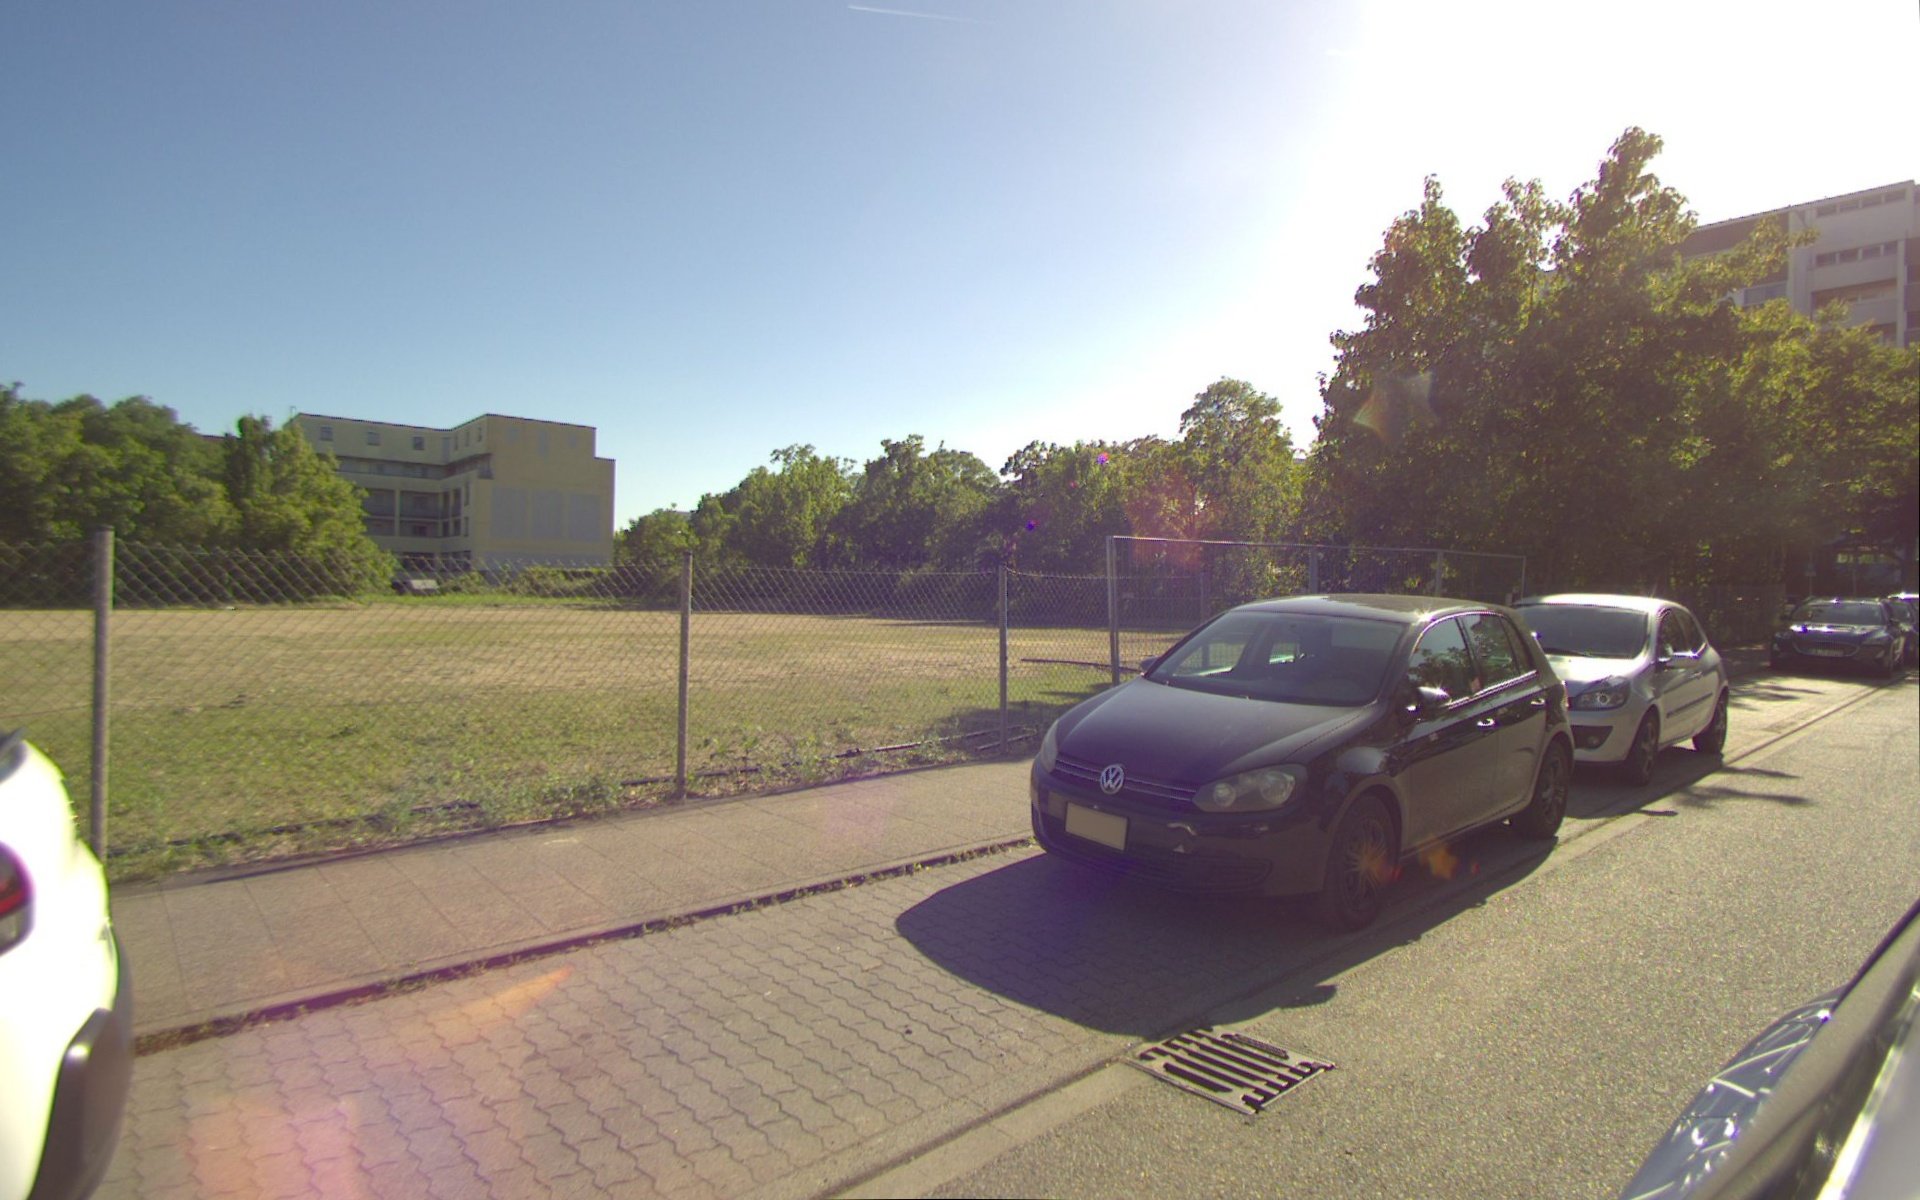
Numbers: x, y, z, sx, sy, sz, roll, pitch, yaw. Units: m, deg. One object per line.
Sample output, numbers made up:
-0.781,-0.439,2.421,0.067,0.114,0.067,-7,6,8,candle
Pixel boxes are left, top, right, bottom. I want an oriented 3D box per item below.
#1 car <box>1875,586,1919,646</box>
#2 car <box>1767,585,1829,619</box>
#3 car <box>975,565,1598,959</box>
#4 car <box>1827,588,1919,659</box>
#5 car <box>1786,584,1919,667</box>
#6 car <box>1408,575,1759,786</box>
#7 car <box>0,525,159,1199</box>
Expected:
26.408,0.394,27.609,4.019,1.469,1.622,-2,2,-40,car
39.897,0.082,48.159,3.931,1.469,1.714,-2,2,-41,car
2.117,0.586,5.871,4.009,1.513,1.690,-1,1,-42,car
21.516,0.488,23.319,3.998,1.490,1.827,-1,1,-41,car
17.801,0.417,20.035,4.365,1.456,1.678,-1,1,-43,car
5.827,0.609,9.265,3.930,1.532,1.665,1,-1,-41,car
-3.364,0.620,1.116,3.782,1.562,1.682,1,-1,-42,car
